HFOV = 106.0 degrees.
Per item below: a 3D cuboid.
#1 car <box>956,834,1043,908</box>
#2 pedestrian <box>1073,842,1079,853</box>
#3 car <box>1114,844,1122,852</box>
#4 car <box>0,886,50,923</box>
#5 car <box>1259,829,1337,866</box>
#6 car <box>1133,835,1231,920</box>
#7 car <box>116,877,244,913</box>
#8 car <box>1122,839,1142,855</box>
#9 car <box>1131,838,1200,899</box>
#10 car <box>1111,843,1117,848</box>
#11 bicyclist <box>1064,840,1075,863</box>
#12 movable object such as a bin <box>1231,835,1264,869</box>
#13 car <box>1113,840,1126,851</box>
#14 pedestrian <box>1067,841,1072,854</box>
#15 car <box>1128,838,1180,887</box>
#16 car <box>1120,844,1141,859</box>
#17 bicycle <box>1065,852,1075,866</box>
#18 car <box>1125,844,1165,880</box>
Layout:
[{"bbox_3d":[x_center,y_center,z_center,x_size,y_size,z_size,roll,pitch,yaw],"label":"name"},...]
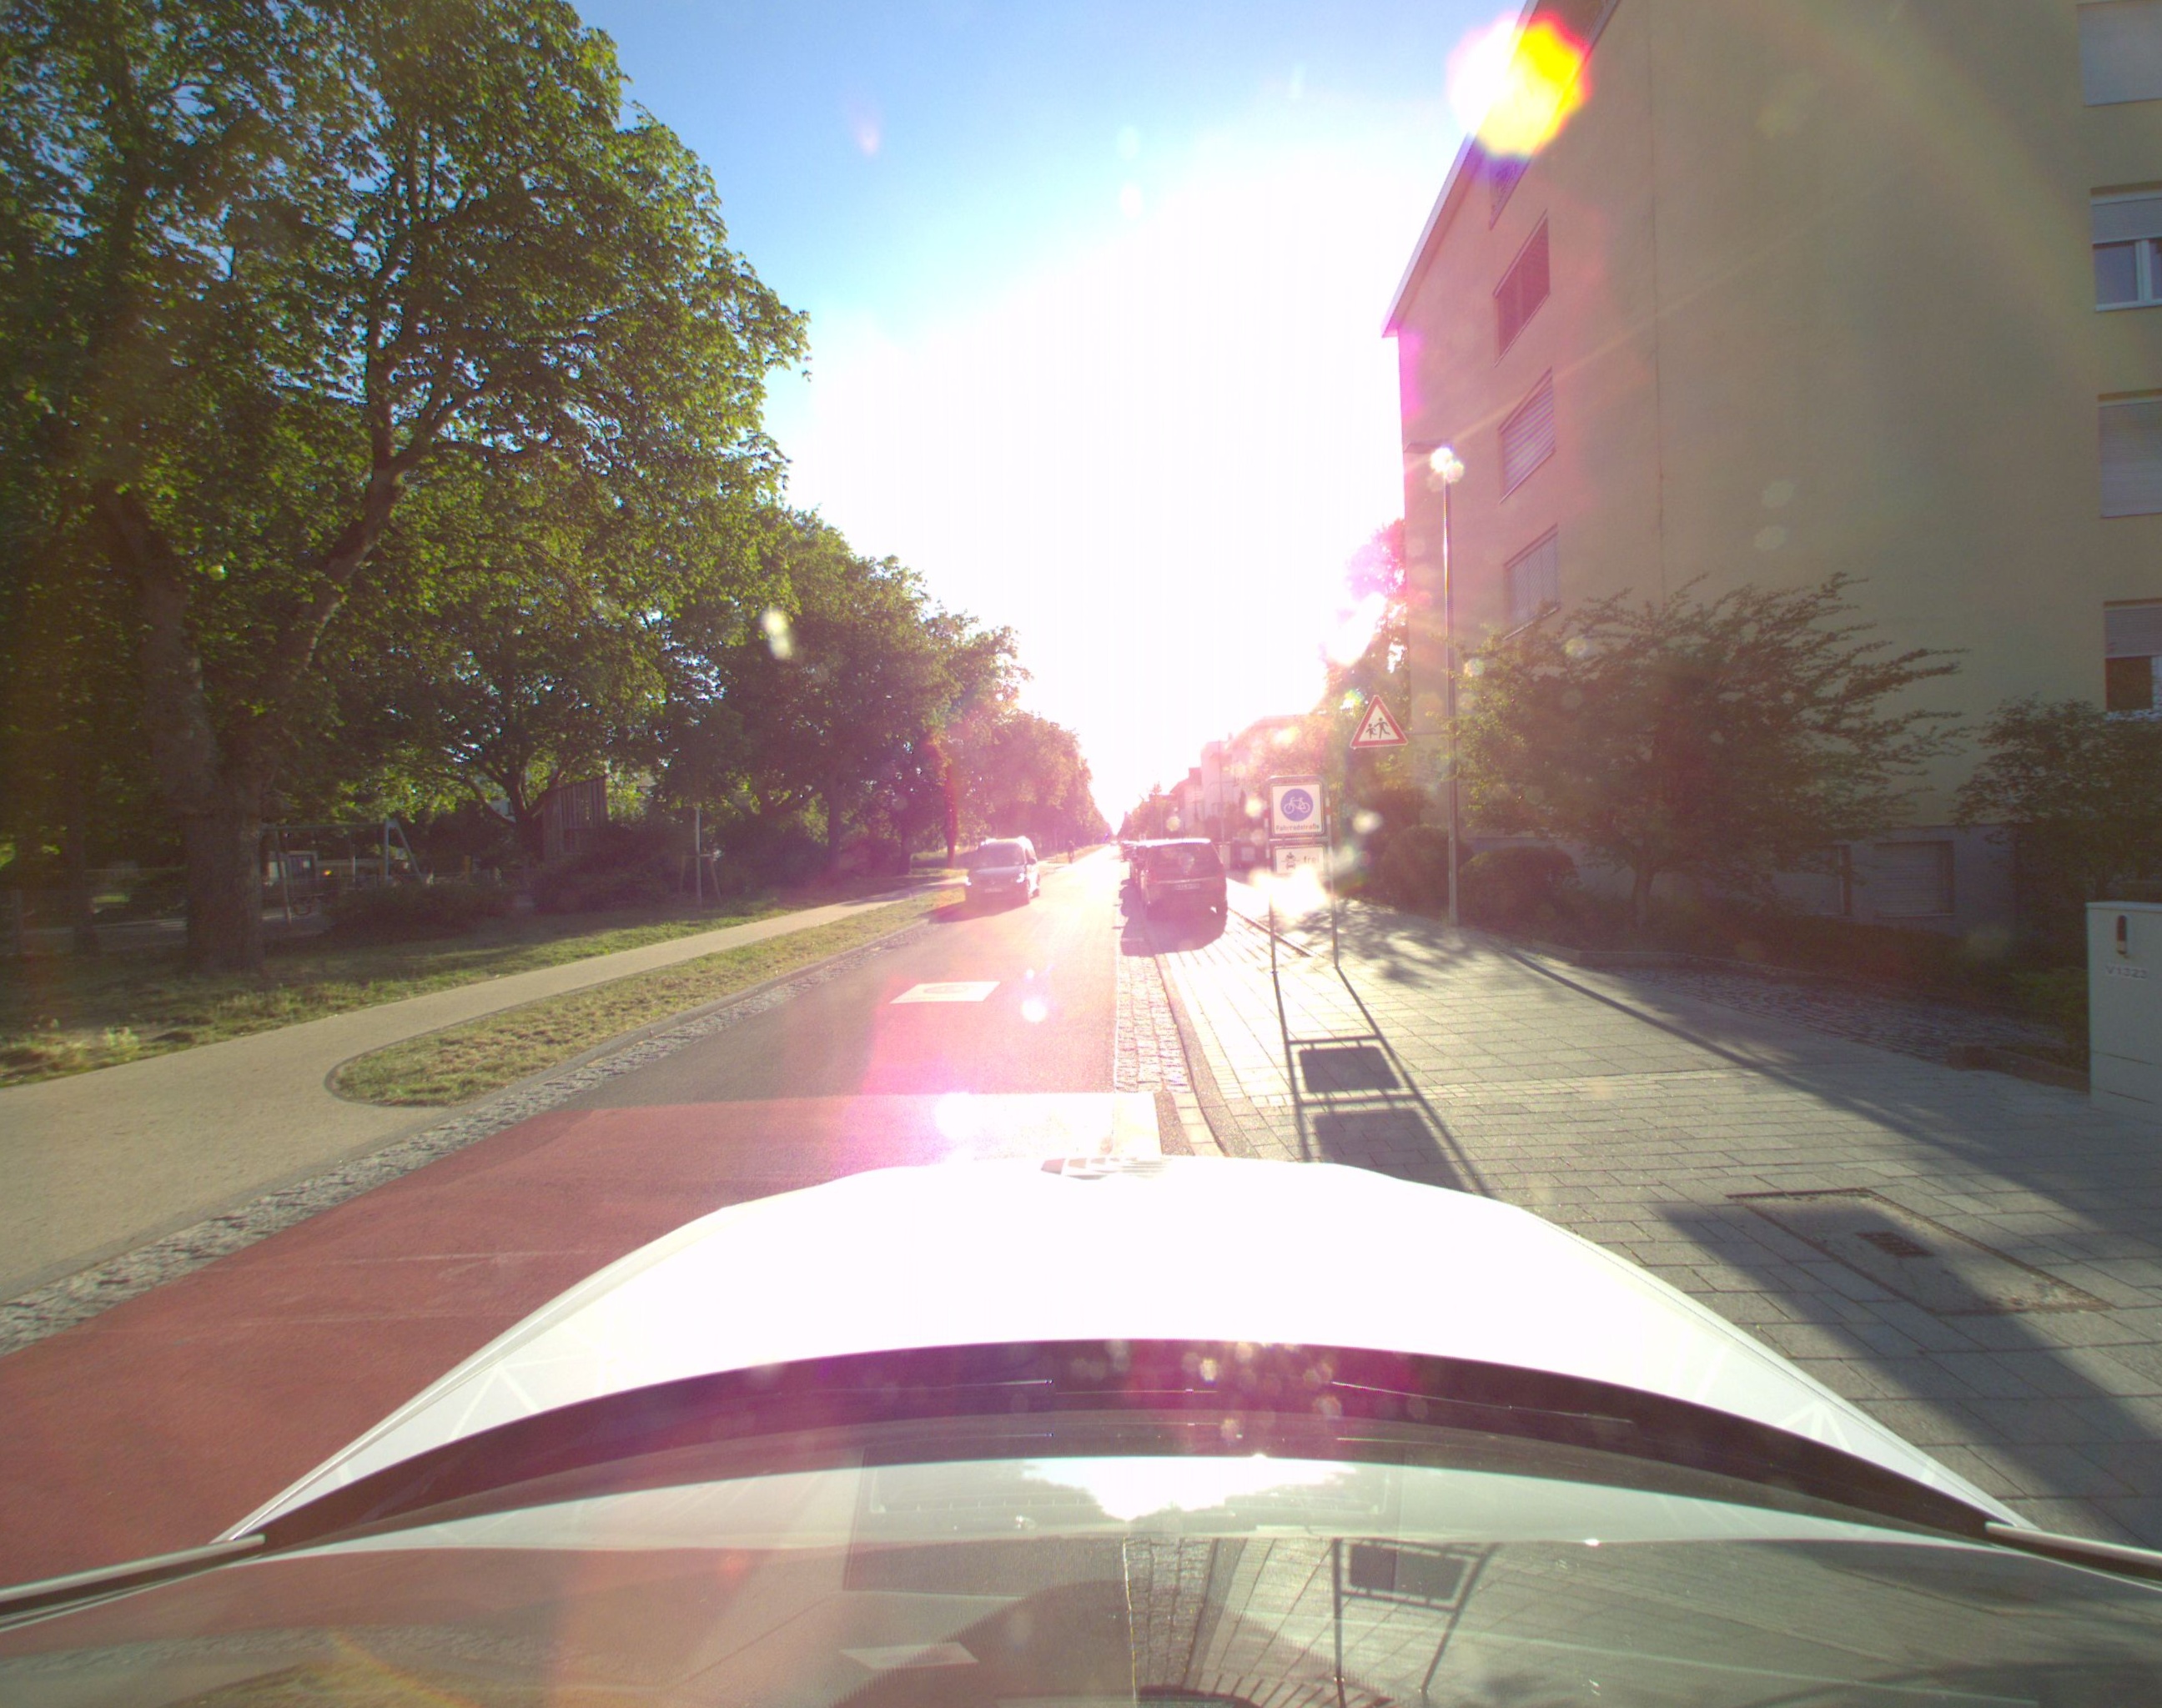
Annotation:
[{"bbox_3d":[-2.271,0.433,23.936,1.837,1.847,4.575,-4,0,2],"label":"car"},{"bbox_3d":[-0.695,-0.937,122.518,0.779,1.614,0.953,-2,1,6],"label":"pedestrian"},{"bbox_3d":[7.828,-1.314,170.391,1.491,1.567,3.270,-2,0,4],"label":"car"},{"bbox_3d":[-42.573,2.013,31.078,1.515,1.367,3.757,-2,1,4],"label":"car"},{"bbox_3d":[10.358,-0.311,39.149,3.471,1.641,1.648,-2,0,10],"label":"car"},{"bbox_3d":[2.170,0.440,18.481,1.704,1.610,4.170,-4,1,2],"label":"car"},{"bbox_3d":[-41.391,1.849,37.540,1.515,1.367,3.757,-2,1,4],"label":"car"},{"bbox_3d":[5.194,-0.699,83.252,1.738,1.474,3.924,-5,1,2],"label":"car"},{"bbox_3d":[2.415,0.363,24.059,1.672,1.555,4.147,-4,1,2],"label":"car"},{"bbox_3d":[9.579,-2.469,238.879,1.645,1.541,3.269,-1,1,3],"label":"car"},{"bbox_3d":[-0.869,-0.208,61.017,0.679,1.672,1.173,-3,0,2],"label":"bicyclist"},{"bbox_3d":[7.336,-0.105,35.949,1.231,1.432,1.124,-2,0,4],"label":"movable object such as a bin"},{"bbox_3d":[5.584,-1.214,119.344,1.730,1.448,4.198,-4,0,1],"label":"car"},{"bbox_3d":[-1.729,-0.978,123.002,0.621,1.831,0.887,-2,1,6],"label":"pedestrian"},{"bbox_3d":[2.611,0.270,29.737,1.671,1.555,4.135,-4,1,4],"label":"car"},{"bbox_3d":[4.348,-0.246,72.121,1.767,1.288,4.276,-2,1,3],"label":"car"},{"bbox_3d":[-0.816,0.367,60.983,0.554,1.031,1.916,-3,0,2],"label":"bicycle"},{"bbox_3d":[2.755,0.316,35.754,1.557,1.390,4.378,-4,1,3],"label":"car"}]
